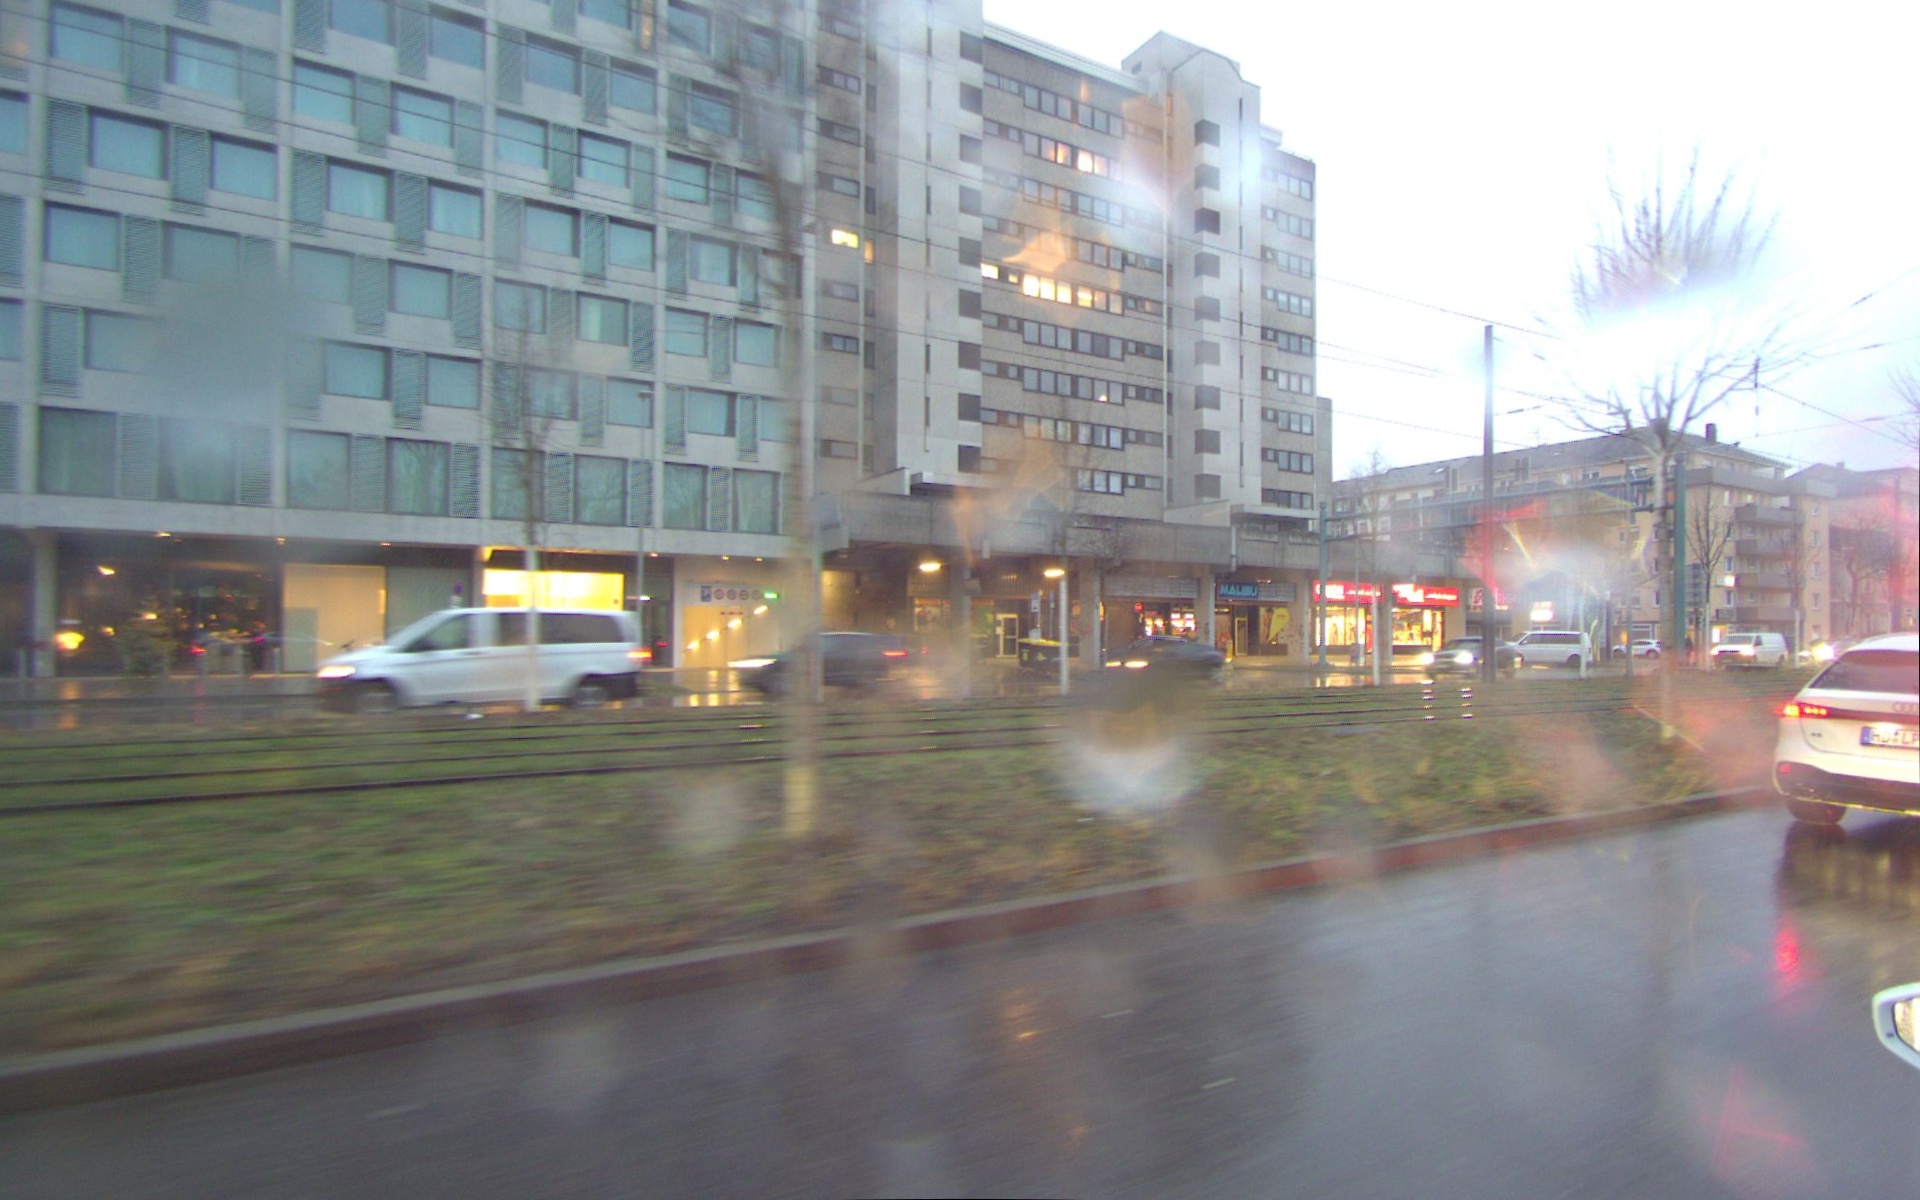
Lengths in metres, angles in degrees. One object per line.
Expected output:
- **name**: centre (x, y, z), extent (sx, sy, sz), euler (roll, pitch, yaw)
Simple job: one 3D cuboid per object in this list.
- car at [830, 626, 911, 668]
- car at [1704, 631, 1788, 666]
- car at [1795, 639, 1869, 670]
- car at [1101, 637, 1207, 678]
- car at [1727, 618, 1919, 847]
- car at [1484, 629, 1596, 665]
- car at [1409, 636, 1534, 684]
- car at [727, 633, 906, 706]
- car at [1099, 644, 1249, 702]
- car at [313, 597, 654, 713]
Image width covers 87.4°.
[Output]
- **car**: centre (-3.910, 1.985, 43.390), extent (1.709, 1.718, 4.336), euler (1, -2, -32)
- **car**: centre (45.063, 2.777, 57.591), extent (5.100, 1.937, 1.985), euler (1, -2, -29)
- **car**: centre (49.298, 3.036, 56.763), extent (4.529, 1.655, 1.886), euler (1, -2, -32)
- **car**: centre (8.056, 2.341, 41.737), extent (3.924, 1.405, 1.935), euler (2, 0, 25)
- **car**: centre (7.941, 0.902, 7.590), extent (4.560, 1.424, 1.837), euler (2, -1, -30)
- **car**: centre (32.369, 2.608, 56.220), extent (5.059, 1.937, 2.001), euler (0, -2, 15)
- **car**: centre (19.832, 2.270, 38.889), extent (4.854, 1.741, 1.889), euler (1, -2, -28)
- **car**: centre (-3.884, 1.830, 27.379), extent (4.477, 1.837, 1.887), euler (1, -2, -31)
- **car**: centre (7.074, 2.334, 33.095), extent (4.858, 1.741, 1.887), euler (1, -2, -30)
- **car**: centre (-8.077, 0.905, 17.326), extent (5.058, 1.741, 1.887), euler (1, -2, -31)
